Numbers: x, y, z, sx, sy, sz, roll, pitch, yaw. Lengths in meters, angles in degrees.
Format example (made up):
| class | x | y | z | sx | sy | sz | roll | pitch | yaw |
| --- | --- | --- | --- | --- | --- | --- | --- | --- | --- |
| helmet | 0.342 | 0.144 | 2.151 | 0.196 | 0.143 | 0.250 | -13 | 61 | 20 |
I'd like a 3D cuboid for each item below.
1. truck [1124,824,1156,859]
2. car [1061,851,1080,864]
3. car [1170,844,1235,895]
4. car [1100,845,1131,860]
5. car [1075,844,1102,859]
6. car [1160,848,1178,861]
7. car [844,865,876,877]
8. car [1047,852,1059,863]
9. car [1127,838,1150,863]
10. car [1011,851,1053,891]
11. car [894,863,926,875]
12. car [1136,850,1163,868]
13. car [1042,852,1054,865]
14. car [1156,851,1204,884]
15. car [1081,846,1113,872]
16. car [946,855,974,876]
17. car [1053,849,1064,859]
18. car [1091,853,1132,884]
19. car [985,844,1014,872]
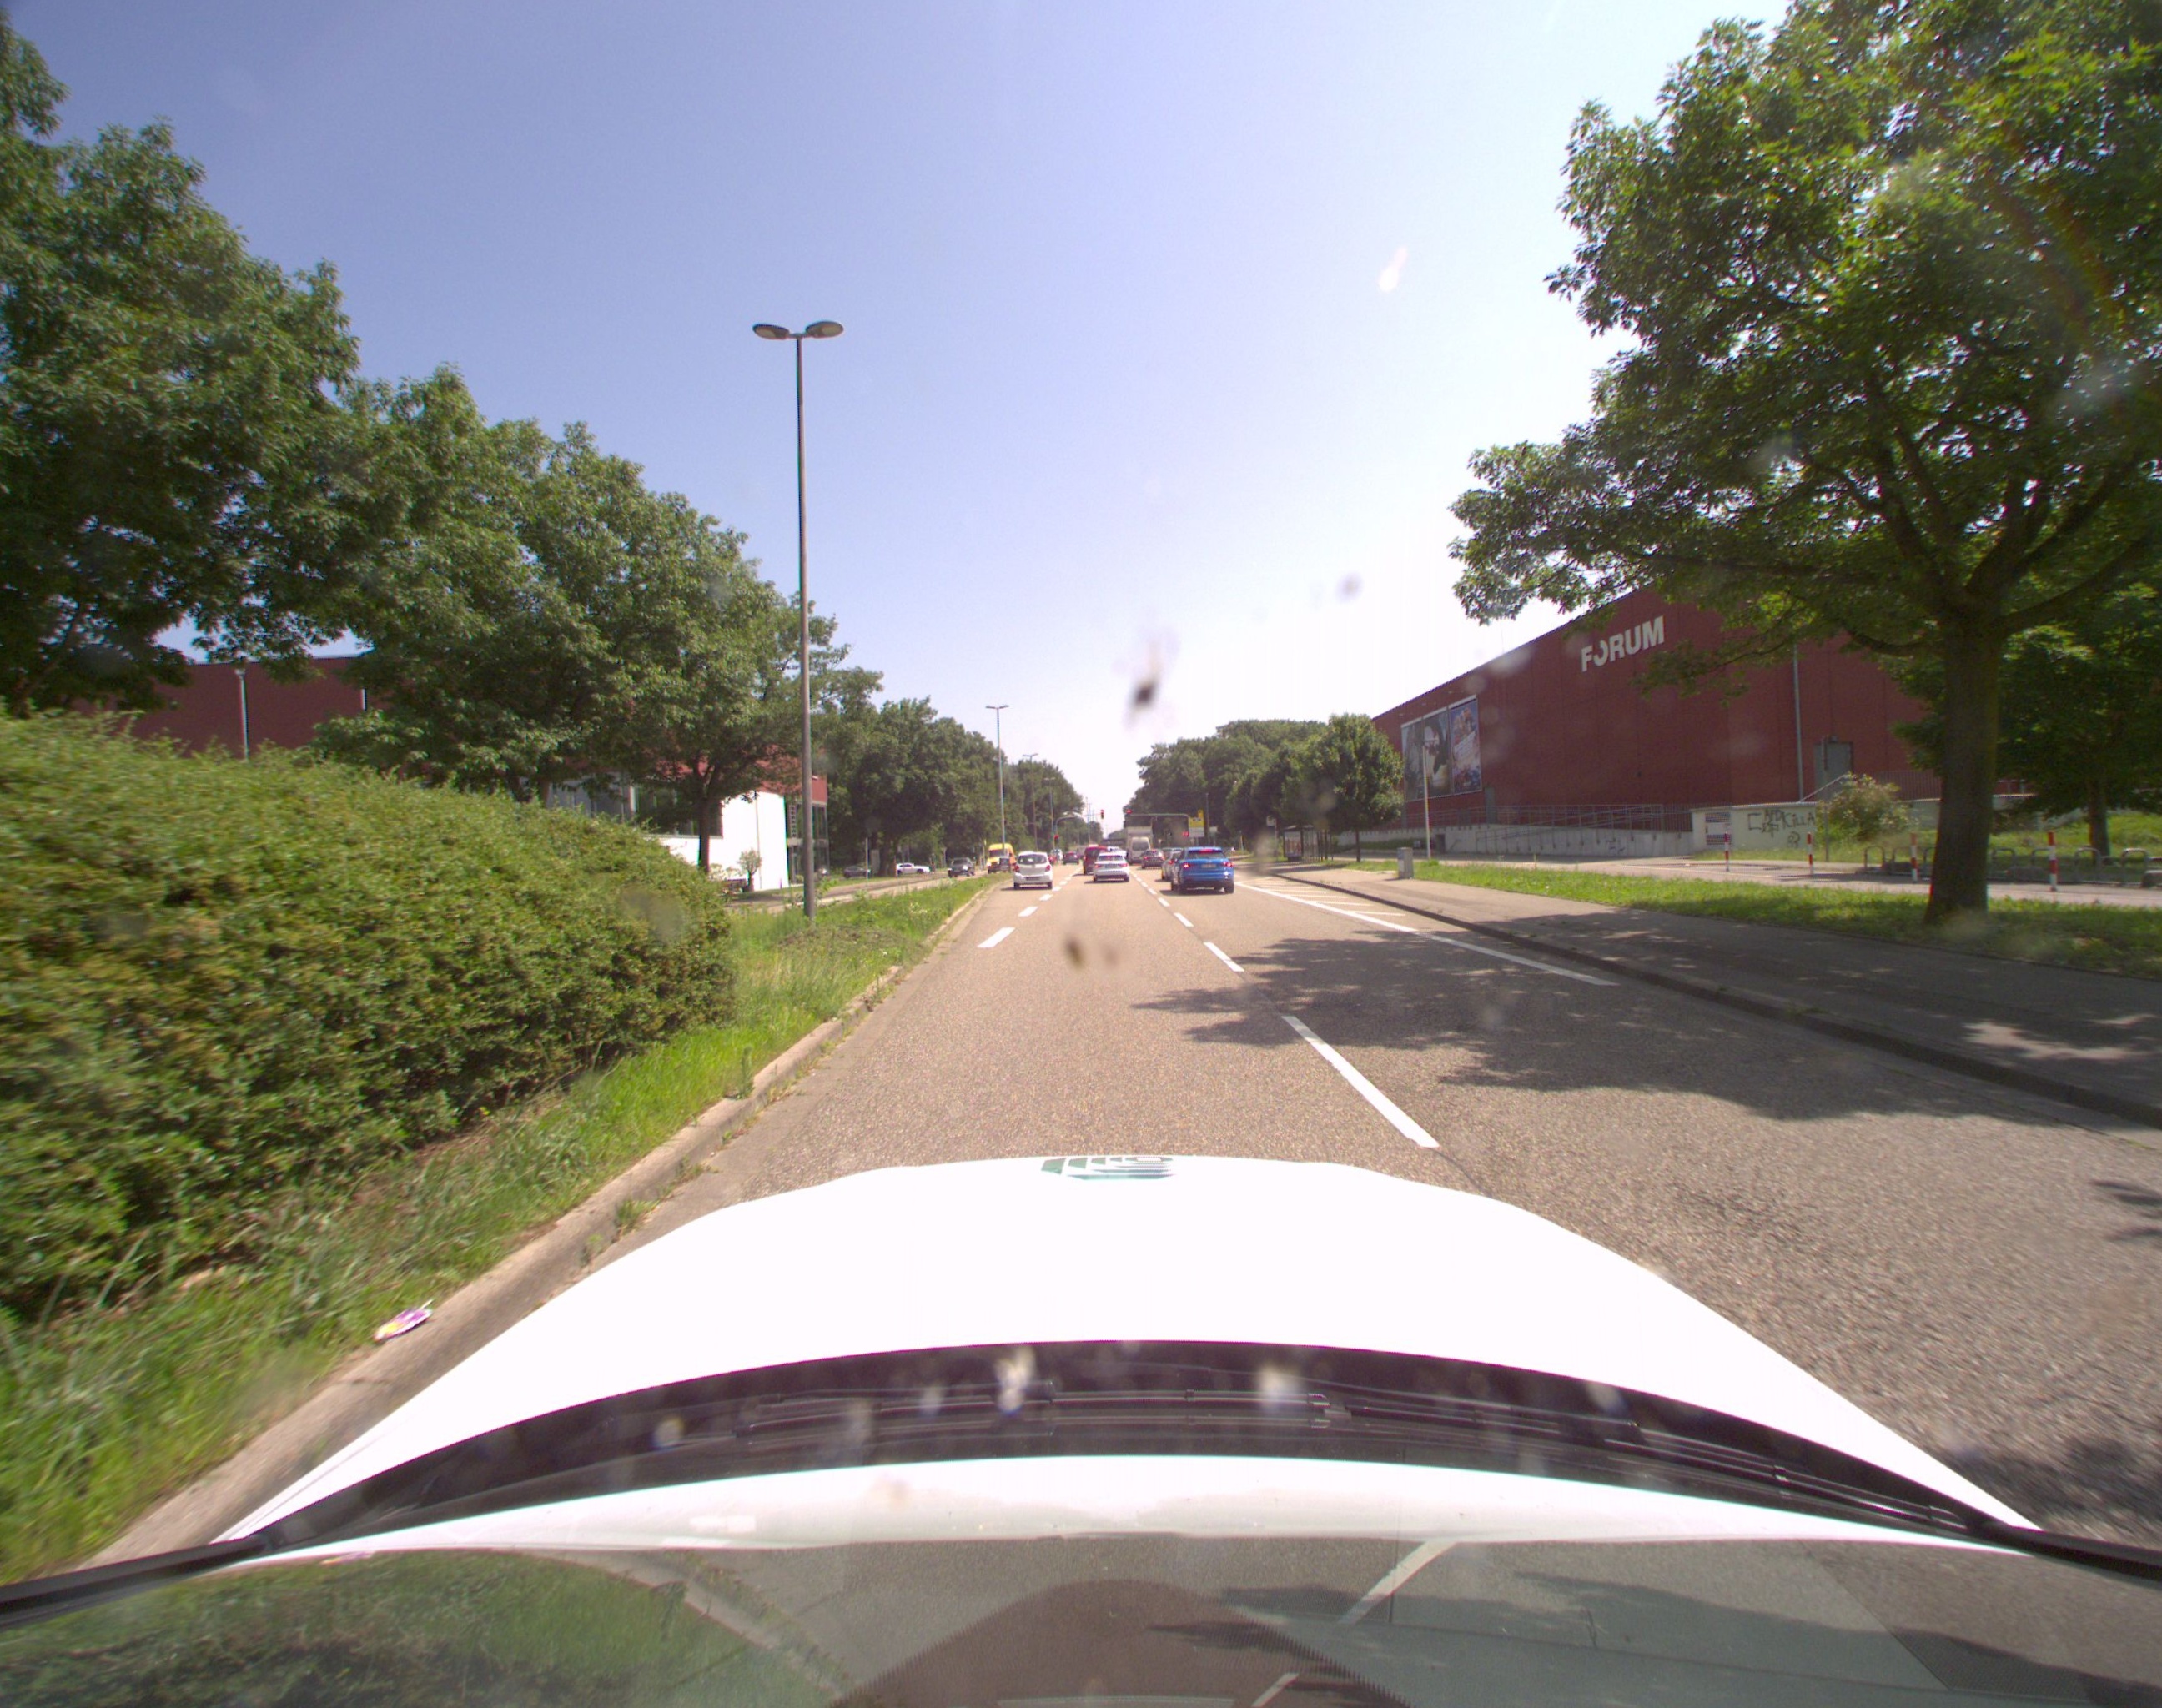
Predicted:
| class | x | y | z | sx | sy | sz | roll | pitch | yaw |
| --- | --- | --- | --- | --- | --- | --- | --- | --- | --- |
| truck | 6.339 | -1.308 | 88.750 | 2.921 | 3.502 | 9.161 | -3 | 0 | 2 |
| car | -1.155 | 0.384 | 93.491 | 1.986 | 1.288 | 4.002 | -3 | 0 | 2 |
| car | 4.152 | 0.512 | 28.464 | 1.801 | 1.593 | 4.352 | -2 | 0 | 3 |
| car | 4.838 | -0.197 | 115.866 | 3.949 | 2.013 | 2.012 | -3 | 0 | 43 |
| car | 1.111 | -0.335 | 120.928 | 2.009 | 2.013 | 3.956 | -3 | 0 | -36 |
| car | 10.134 | 0.049 | 93.773 | 1.627 | 1.464 | 4.002 | -3 | 0 | 2 |
| car | -30.563 | 2.392 | 112.622 | 3.981 | 1.398 | 1.586 | -3 | 0 | -6 |
| car | -3.438 | 0.417 | 99.777 | 1.364 | 1.308 | 2.692 | -3 | 0 | -1 |
| car | 5.467 | -0.367 | 78.213 | 1.986 | 2.255 | 4.002 | -3 | 0 | 2 |
| car | -2.059 | 0.698 | 34.703 | 1.634 | 1.552 | 3.322 | -2 | 0 | -2 |
| car | -22.954 | 2.042 | 109.496 | 3.981 | 1.398 | 1.586 | -3 | 0 | -6 |
| car | 5.257 | 0.376 | 62.844 | 1.859 | 1.310 | 4.001 | -2 | 0 | 1 |
| car | -4.915 | 0.681 | 122.658 | 1.614 | 1.783 | 3.115 | -3 | 0 | -1 |
| car | 4.746 | 0.626 | 39.469 | 1.859 | 1.473 | 4.001 | -2 | 0 | 1 |
| car | 0.984 | 0.319 | 51.983 | 1.790 | 1.523 | 3.996 | -2 | 0 | -2 |
| car | -10.500 | 0.973 | 70.714 | 1.704 | 1.662 | 4.001 | -2 | 0 | 1 |
| car | -3.954 | 0.041 | 142.532 | 1.589 | 1.582 | 3.773 | -3 | 0 | 2 |
| car | 1.477 | 0.679 | 39.966 | 1.877 | 1.354 | 4.002 | -2 | 0 | 2 |
| car | -6.983 | 0.372 | 70.360 | 1.772 | 2.282 | 4.754 | -2 | 0 | 2 |
